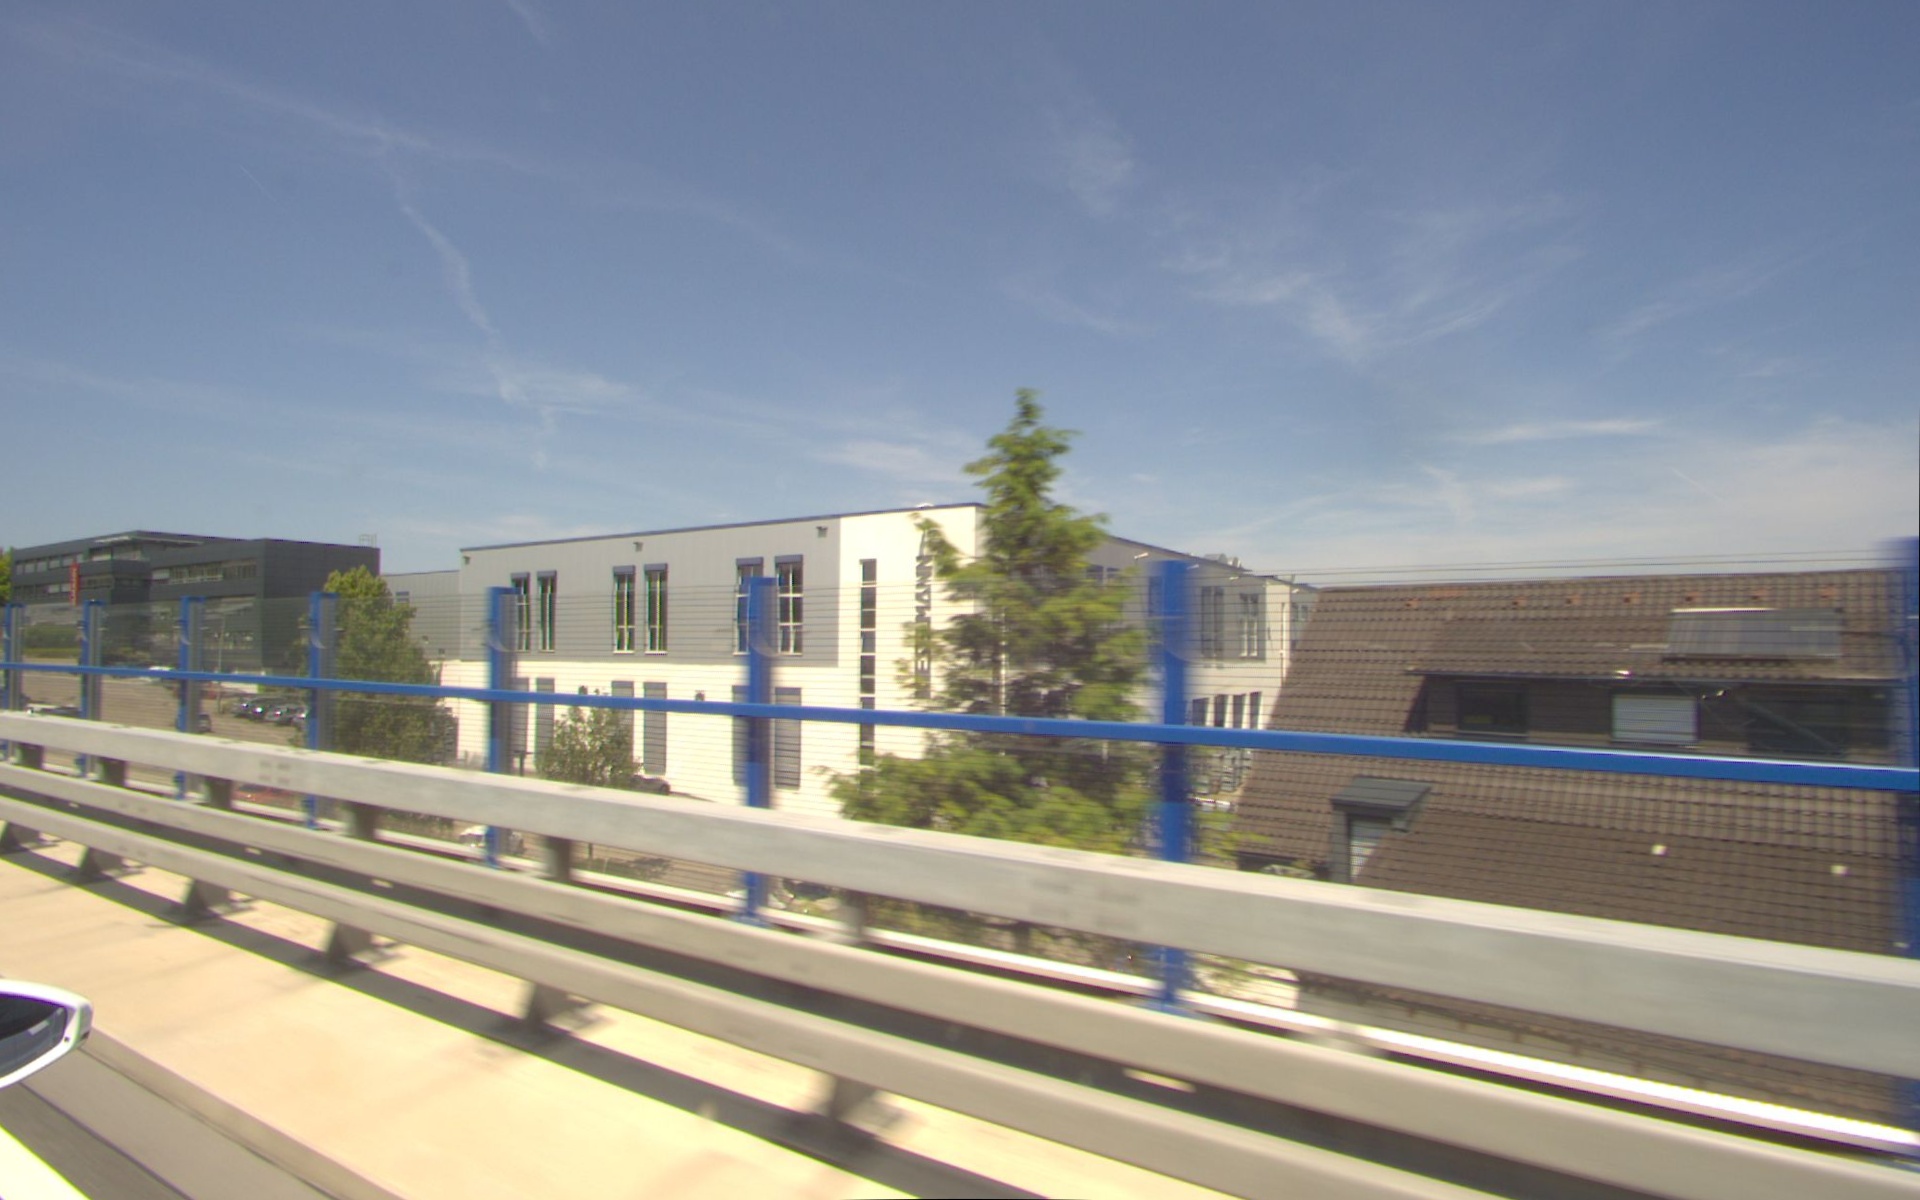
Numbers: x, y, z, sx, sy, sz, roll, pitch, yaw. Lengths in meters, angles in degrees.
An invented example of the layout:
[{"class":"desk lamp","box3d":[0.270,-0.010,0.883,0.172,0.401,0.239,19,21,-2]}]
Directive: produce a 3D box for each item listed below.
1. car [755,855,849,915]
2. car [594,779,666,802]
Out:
[{"class":"car","box3d":[-5.452,9.655,34.135,1.706,1.381,3.983,8,-9,-31]},{"class":"car","box3d":[-18.743,10.829,57.014,1.491,1.160,3.669,-2,-10,34]}]
